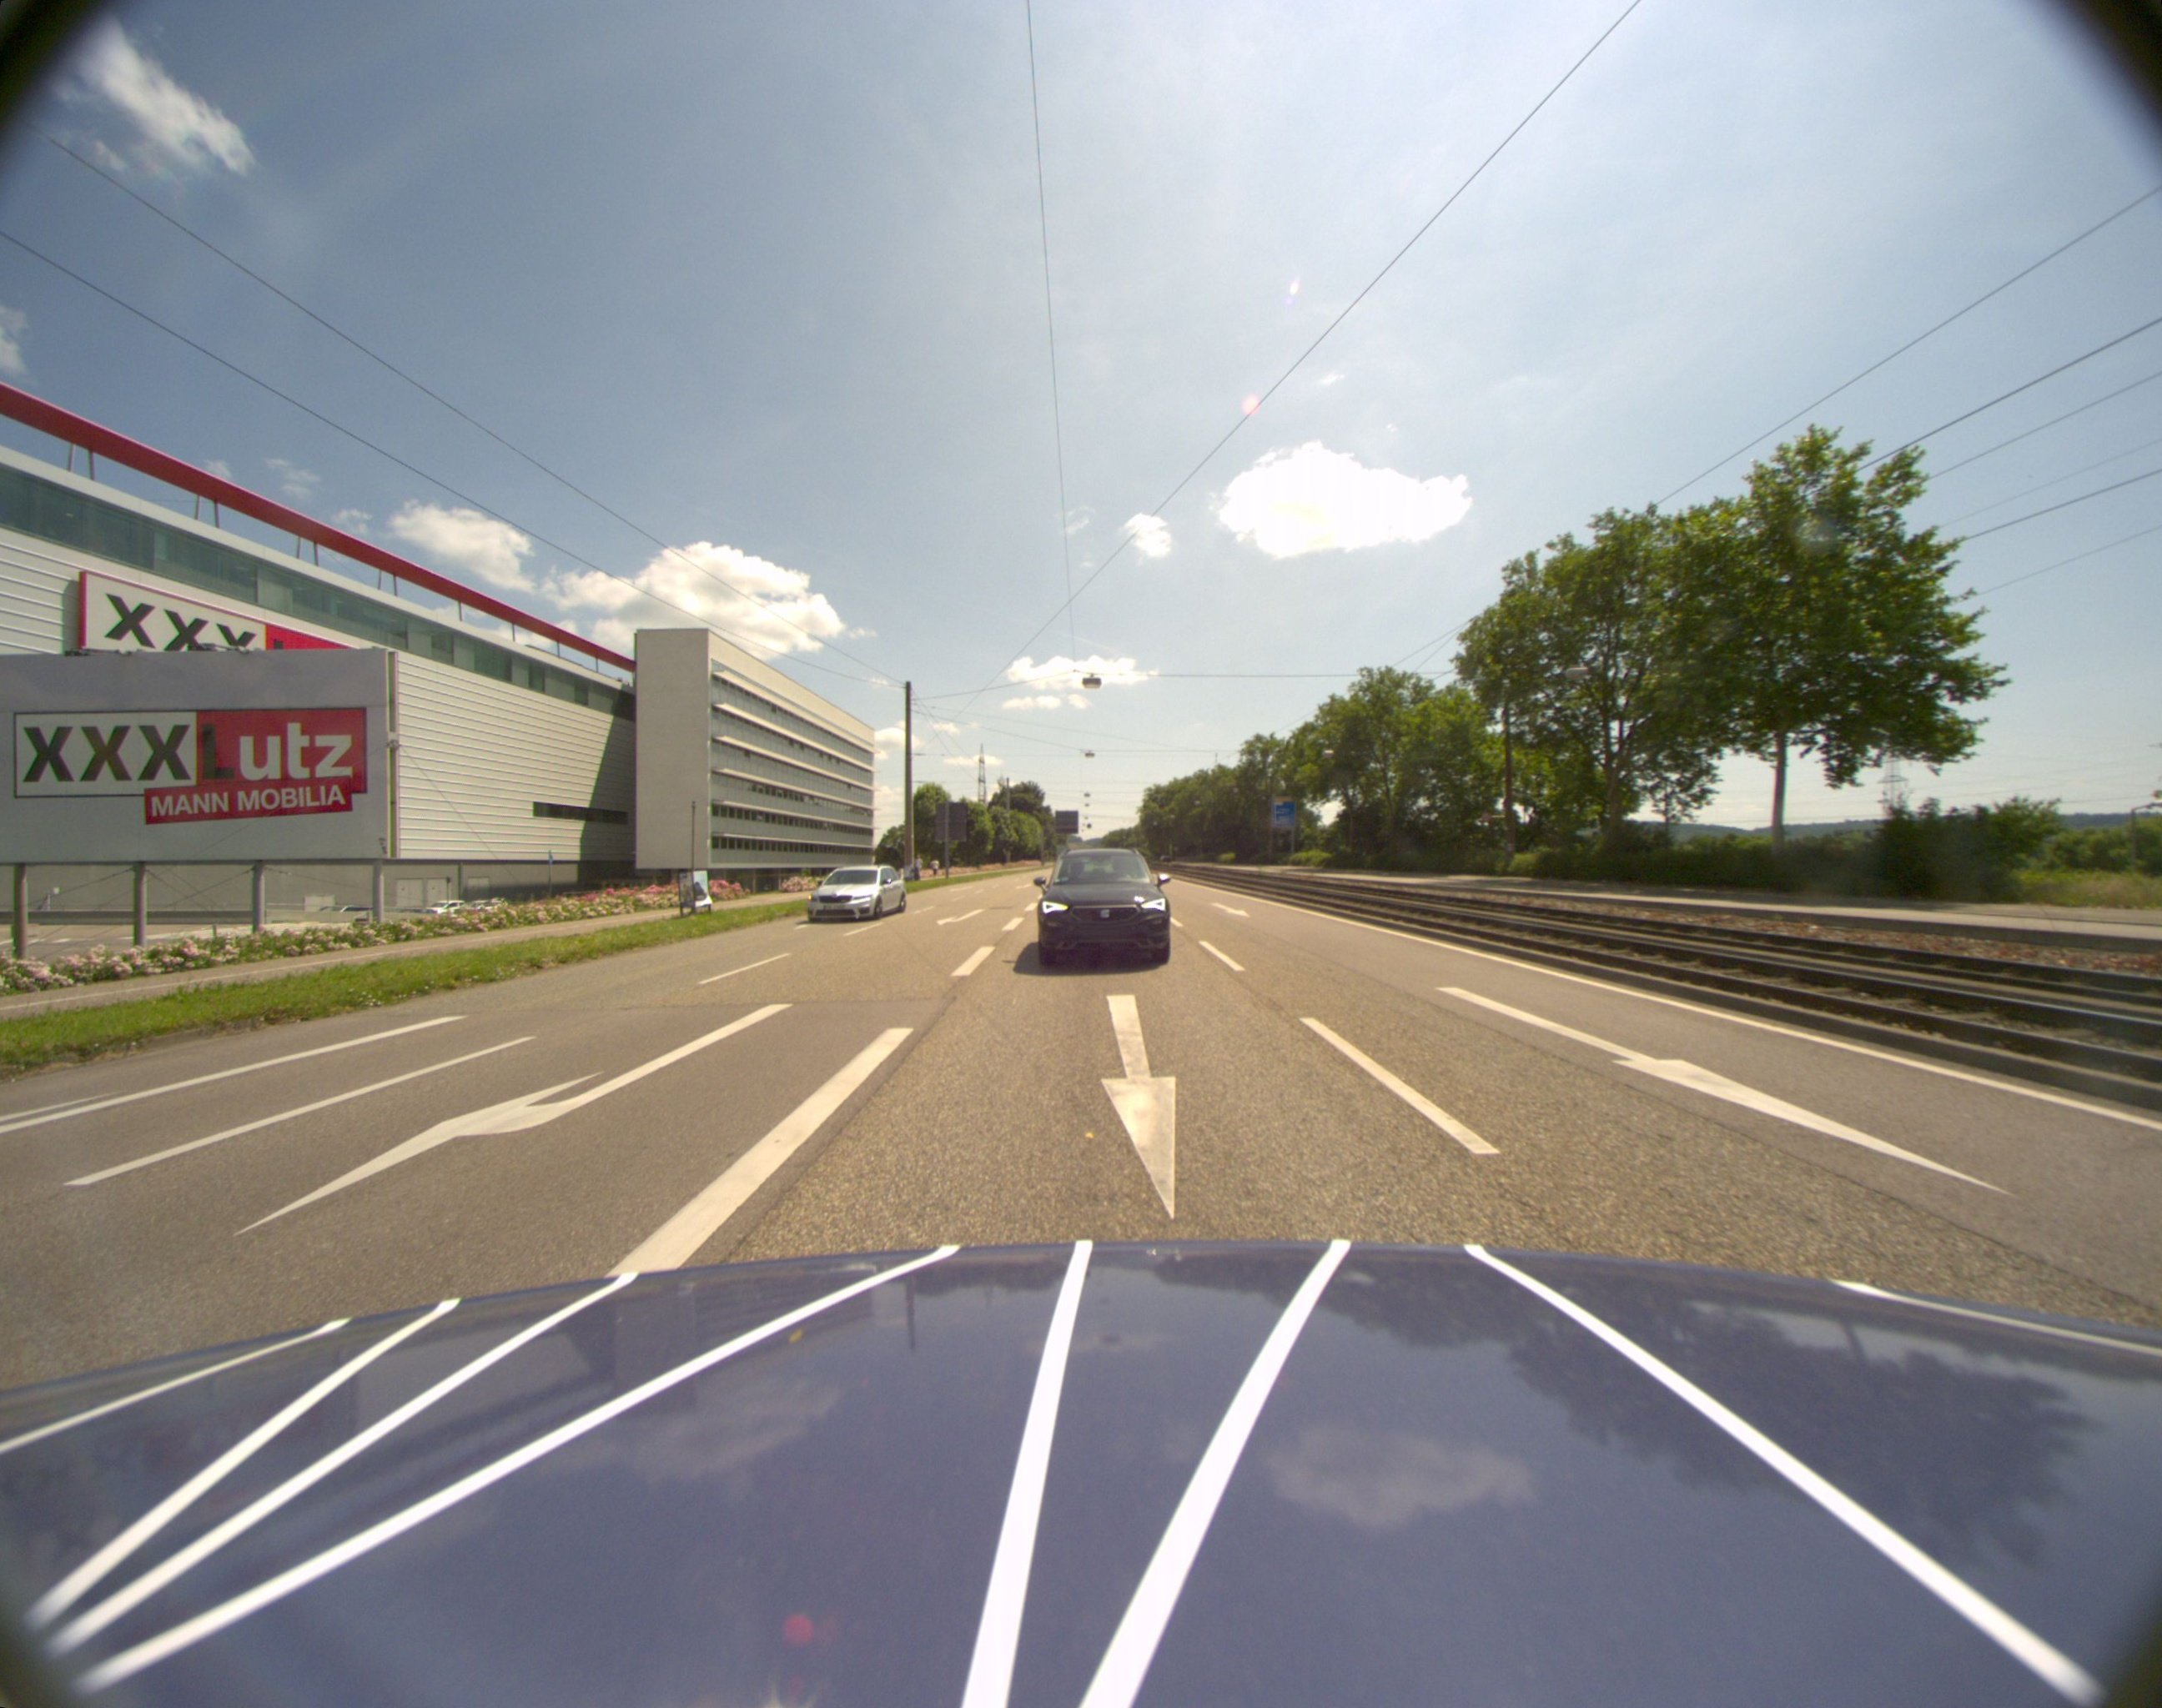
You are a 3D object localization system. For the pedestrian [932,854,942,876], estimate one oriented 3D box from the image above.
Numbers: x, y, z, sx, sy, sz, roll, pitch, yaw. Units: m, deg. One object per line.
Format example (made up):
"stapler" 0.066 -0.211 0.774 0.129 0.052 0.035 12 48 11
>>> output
"pedestrian" -11.108 0.857 58.761 0.599 1.645 0.634 -2 1 0

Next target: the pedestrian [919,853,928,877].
"pedestrian" -12.006 0.826 57.836 0.518 1.783 0.634 -2 1 0

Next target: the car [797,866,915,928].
"car" -5.977 1.086 20.773 1.802 1.390 4.460 -2 0 1

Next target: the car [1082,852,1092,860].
"car" 1.278 0.450 166.455 1.819 1.829 4.001 -1 0 5

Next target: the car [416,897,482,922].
"car" -51.712 4.504 62.278 1.998 1.637 4.000 -2 0 1

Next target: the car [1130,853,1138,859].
"car" 16.176 0.582 230.743 1.999 1.626 4.266 -1 -1 0

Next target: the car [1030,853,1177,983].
"car" 0.320 0.810 11.627 1.819 1.583 4.000 -2 0 1
